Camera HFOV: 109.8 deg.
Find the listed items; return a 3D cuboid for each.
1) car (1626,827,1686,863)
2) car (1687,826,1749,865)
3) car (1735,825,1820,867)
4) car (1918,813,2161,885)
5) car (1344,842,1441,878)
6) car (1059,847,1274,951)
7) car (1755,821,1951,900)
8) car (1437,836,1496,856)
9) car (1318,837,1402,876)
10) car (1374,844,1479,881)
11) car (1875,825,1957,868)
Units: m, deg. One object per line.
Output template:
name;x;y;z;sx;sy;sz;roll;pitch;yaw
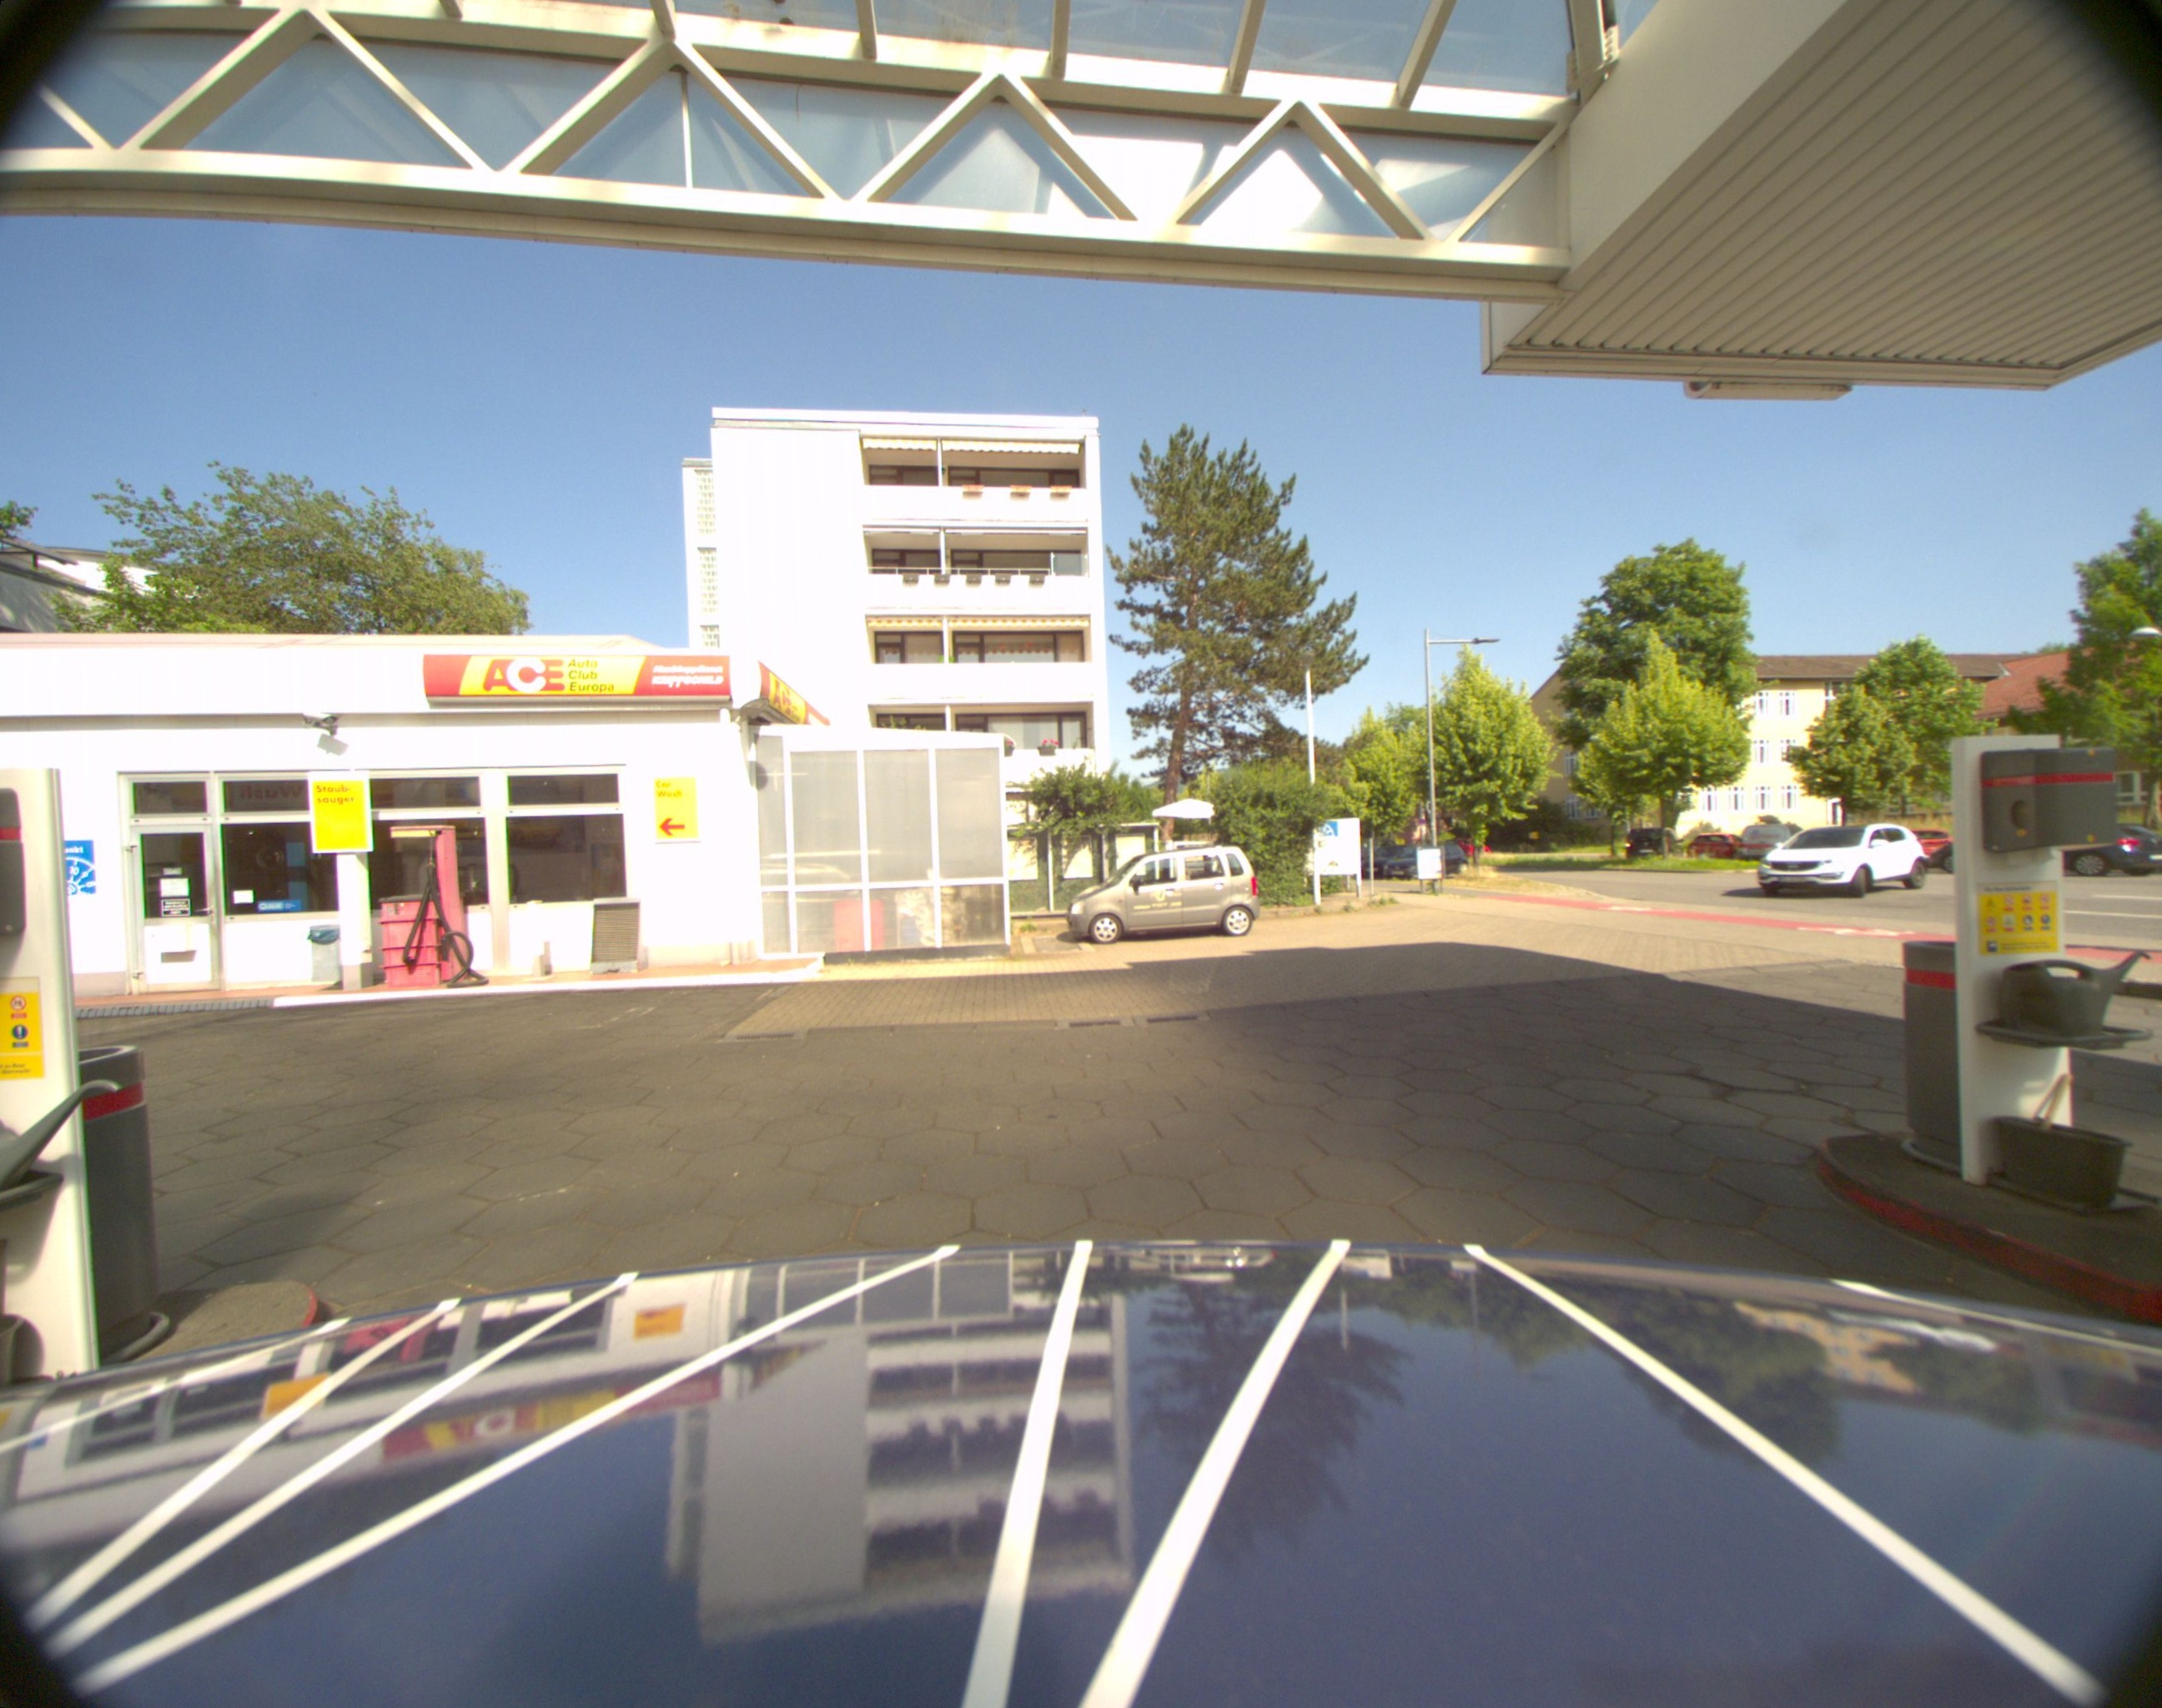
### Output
car;28.911;-0.465;38.155;1.876;1.712;4.234;1;2;44
car;29.865;-0.423;35.565;1.876;1.712;4.234;1;2;44
car;30.335;-0.382;33.050;4.233;1.713;1.876;-1;2;-36
car;26.864;-0.171;21.157;2.000;1.759;4.387;-2;1;-9
car;13.707;0.246;33.359;4.233;1.473;1.876;-1;1;-33
car;1.504;0.775;14.173;3.661;1.608;1.691;-3;1;-5
car;19.065;0.132;18.768;4.312;1.696;1.958;-2;0;-24
car;27.684;-0.568;54.607;3.731;1.383;1.877;0;1;-25
car;13.243;0.094;35.974;4.412;1.710;1.700;-2;1;-39
car;13.951;0.311;30.655;4.233;1.409;1.876;-1;1;-33
car;30.613;-0.286;27.897;4.234;1.451;1.876;-1;2;-42
